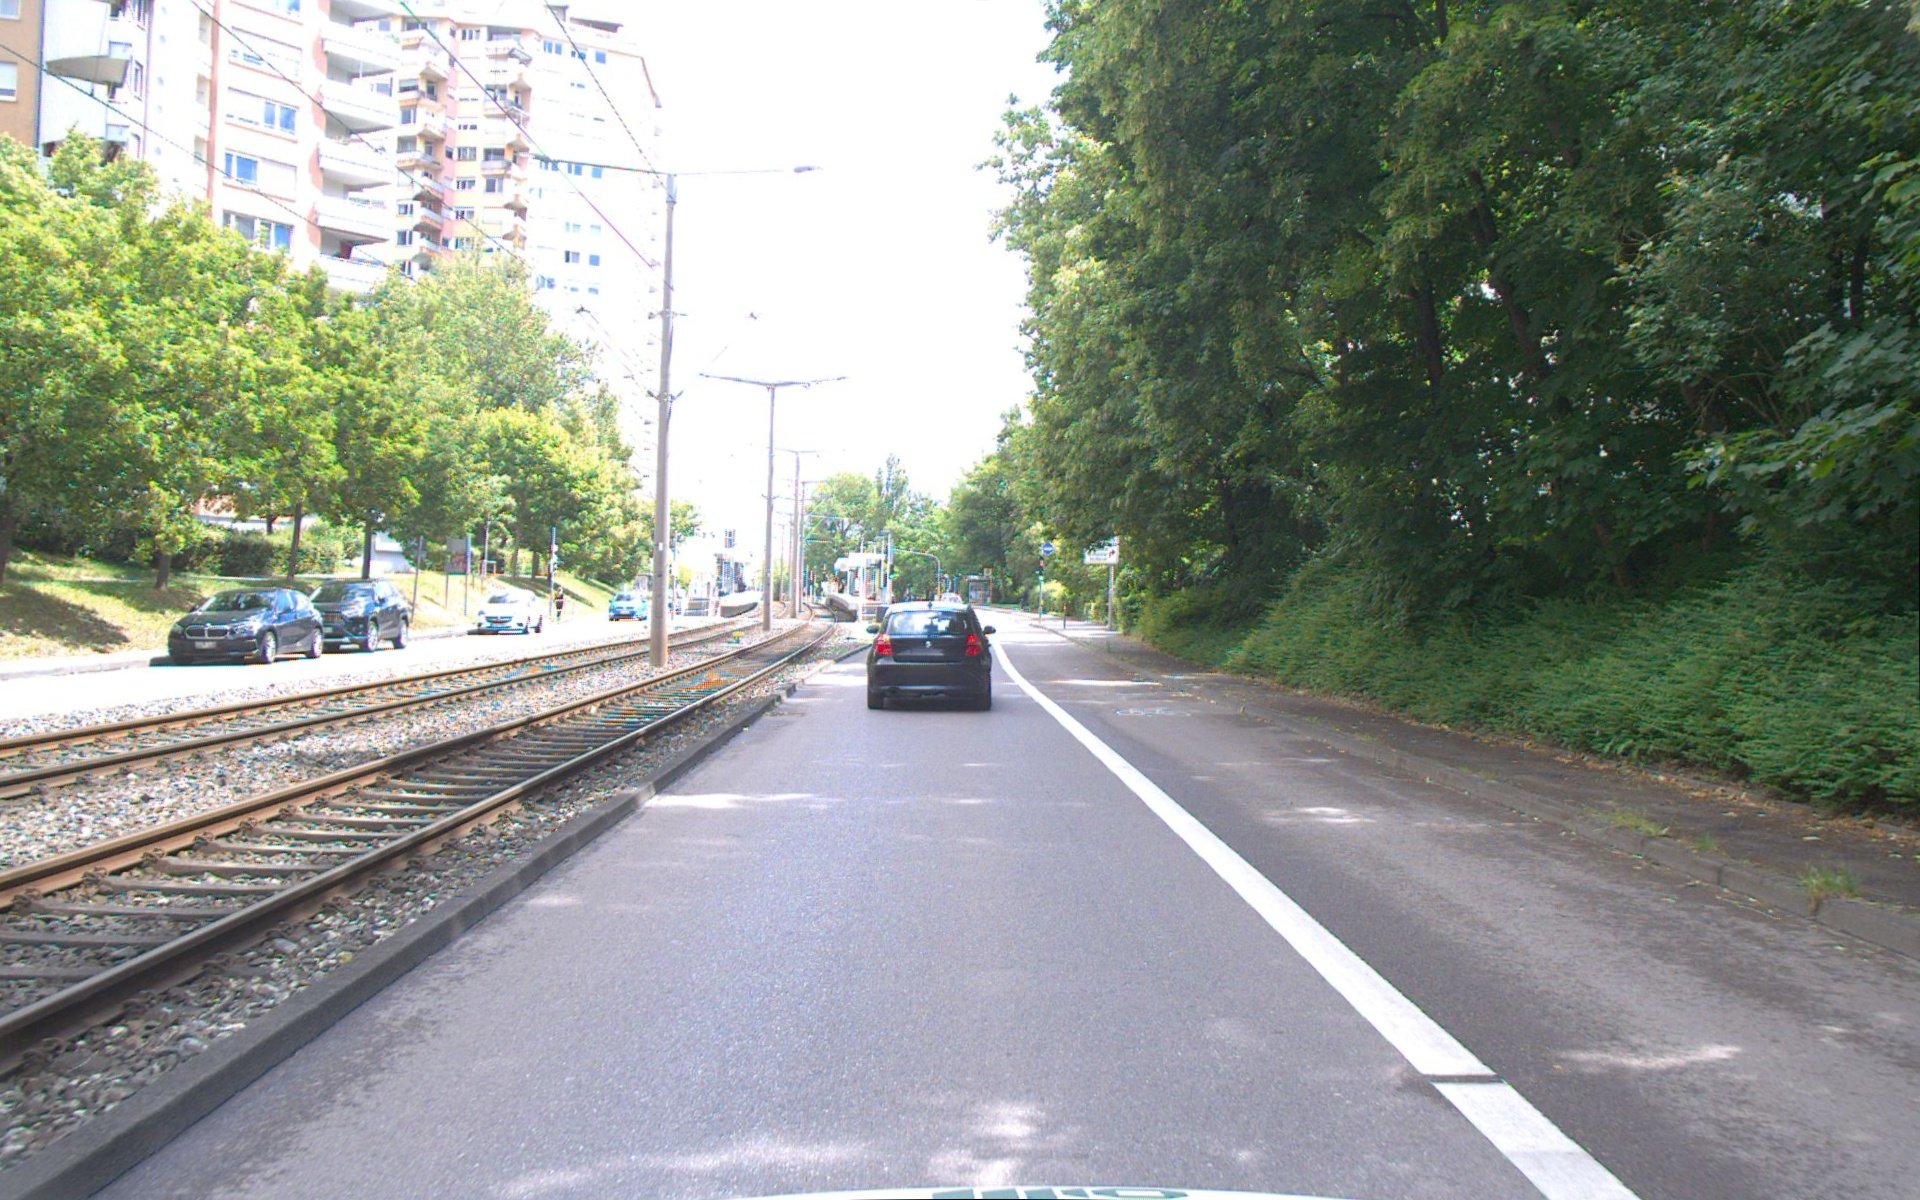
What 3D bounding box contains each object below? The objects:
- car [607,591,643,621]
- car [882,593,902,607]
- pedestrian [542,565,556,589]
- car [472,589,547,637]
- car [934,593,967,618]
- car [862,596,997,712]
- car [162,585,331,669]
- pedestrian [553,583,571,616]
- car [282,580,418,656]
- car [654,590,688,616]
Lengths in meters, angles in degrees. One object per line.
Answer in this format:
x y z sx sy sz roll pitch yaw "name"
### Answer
-16.672 0.277 82.467 1.685 1.467 3.932 1 0 -11 "car"
-7.341 0.024 177.332 1.872 1.485 3.997 1 0 -6 "car"
-26.959 -1.499 108.477 0.620 1.561 0.635 0 0 17 "pedestrian"
-15.245 0.400 56.139 1.747 1.559 4.239 0 0 -6 "car"
-0.589 0.348 101.295 1.746 1.485 3.918 1 0 -4 "car"
-0.467 0.699 23.449 1.745 1.485 3.919 0 0 -2 "car"
-13.949 0.489 32.587 1.739 1.524 3.995 1 0 -3 "car"
-18.585 -0.024 77.201 0.756 1.561 0.713 0 0 -20 "pedestrian"
-14.139 0.409 38.599 1.739 1.658 4.379 0 -1 -3 "car"
-18.187 0.166 104.220 1.682 1.591 3.694 1 0 -4 "car"
